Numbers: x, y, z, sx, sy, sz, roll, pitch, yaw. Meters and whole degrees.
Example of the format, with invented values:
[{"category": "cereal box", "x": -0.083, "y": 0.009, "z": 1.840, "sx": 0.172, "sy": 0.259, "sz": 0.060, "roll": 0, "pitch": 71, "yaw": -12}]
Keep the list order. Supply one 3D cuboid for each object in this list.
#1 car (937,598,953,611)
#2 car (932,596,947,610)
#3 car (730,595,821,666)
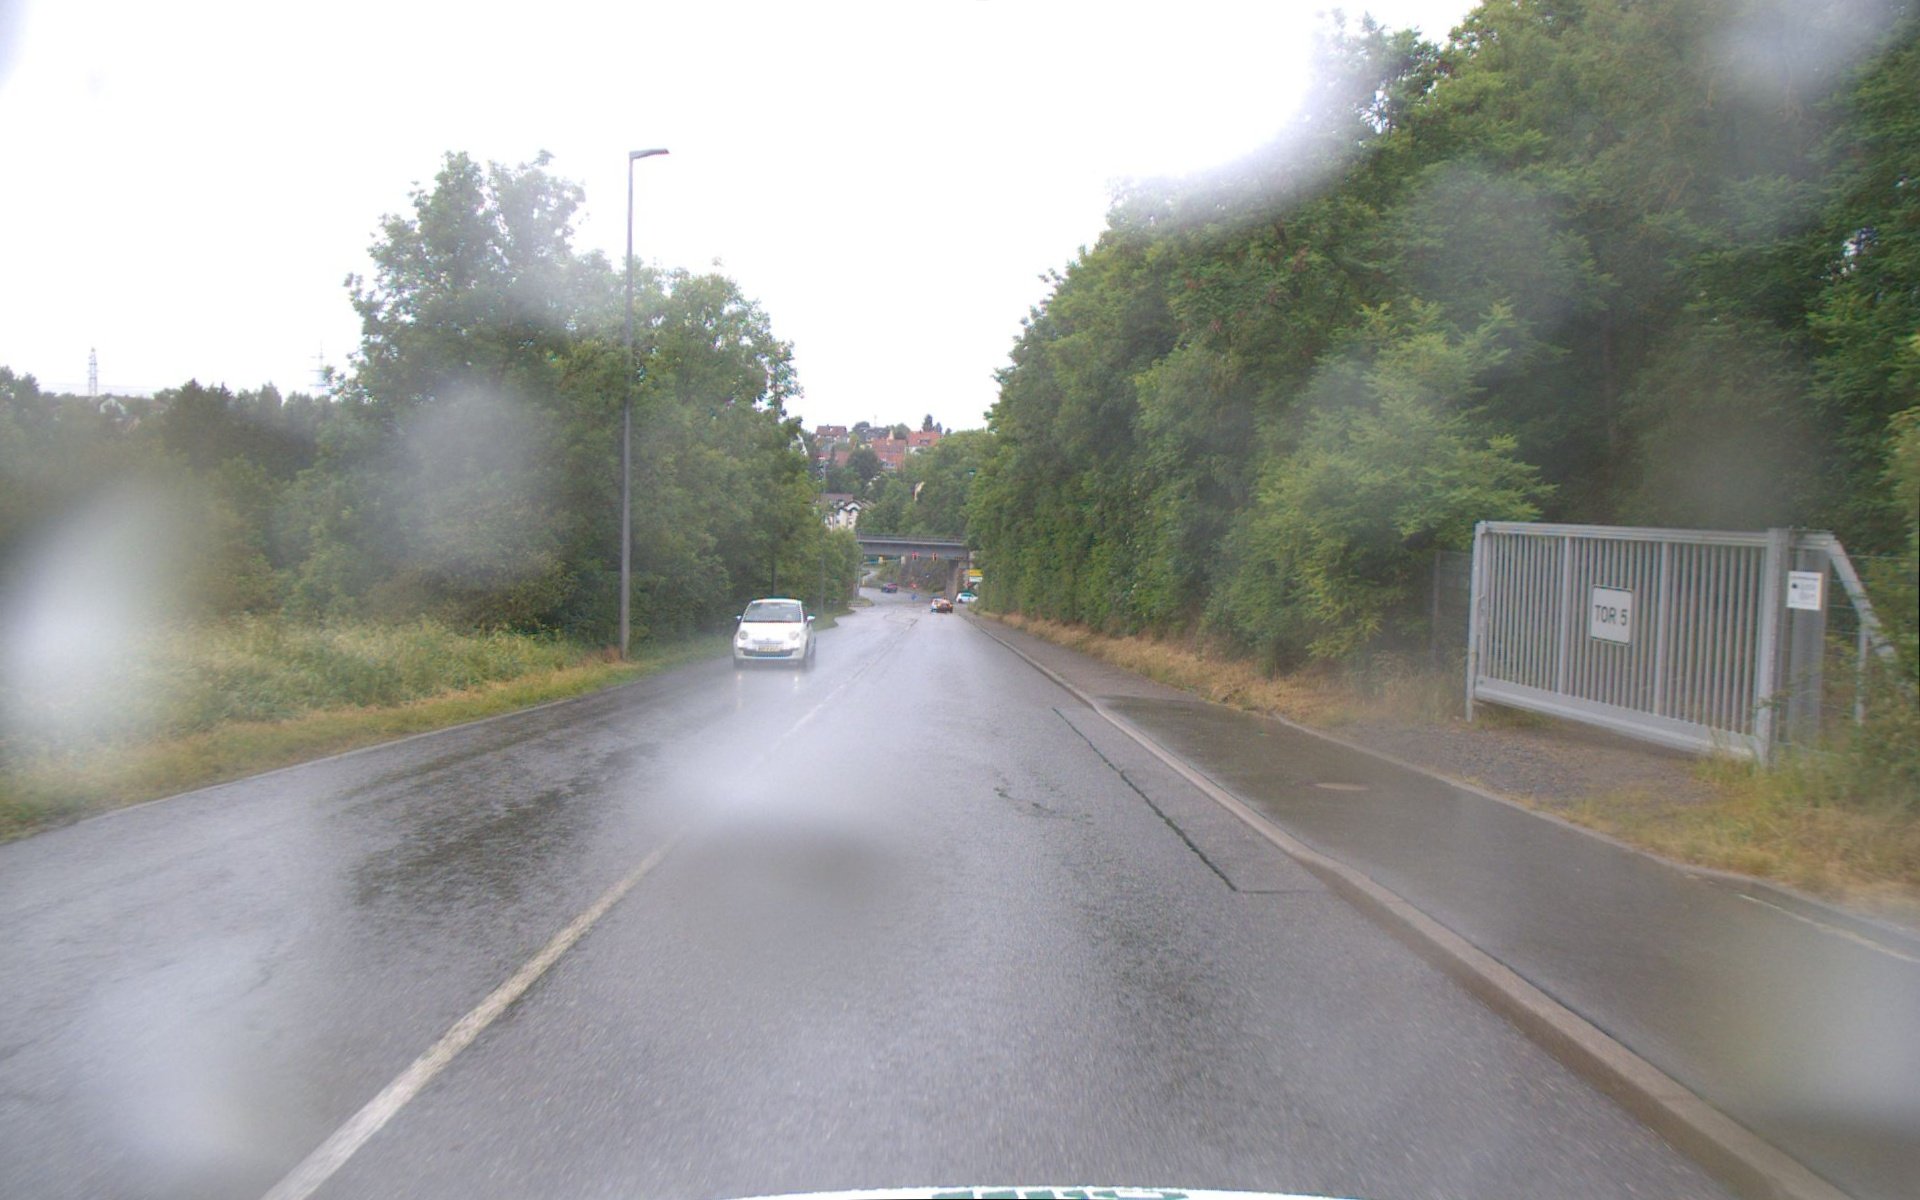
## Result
[{"category": "car", "x": -1.640, "y": 0.514, "z": 183.931, "sx": 1.732, "sy": 1.404, "sz": 4.000, "roll": 0, "pitch": 0, "yaw": 0}, {"category": "car", "x": -2.385, "y": 0.355, "z": 190.594, "sx": 1.732, "sy": 1.590, "sz": 4.000, "roll": 0, "pitch": 0, "yaw": 0}, {"category": "car", "x": -4.057, "y": 0.650, "z": 36.860, "sx": 1.605, "sy": 1.514, "sz": 3.454, "roll": 0, "pitch": 0, "yaw": 1}]
